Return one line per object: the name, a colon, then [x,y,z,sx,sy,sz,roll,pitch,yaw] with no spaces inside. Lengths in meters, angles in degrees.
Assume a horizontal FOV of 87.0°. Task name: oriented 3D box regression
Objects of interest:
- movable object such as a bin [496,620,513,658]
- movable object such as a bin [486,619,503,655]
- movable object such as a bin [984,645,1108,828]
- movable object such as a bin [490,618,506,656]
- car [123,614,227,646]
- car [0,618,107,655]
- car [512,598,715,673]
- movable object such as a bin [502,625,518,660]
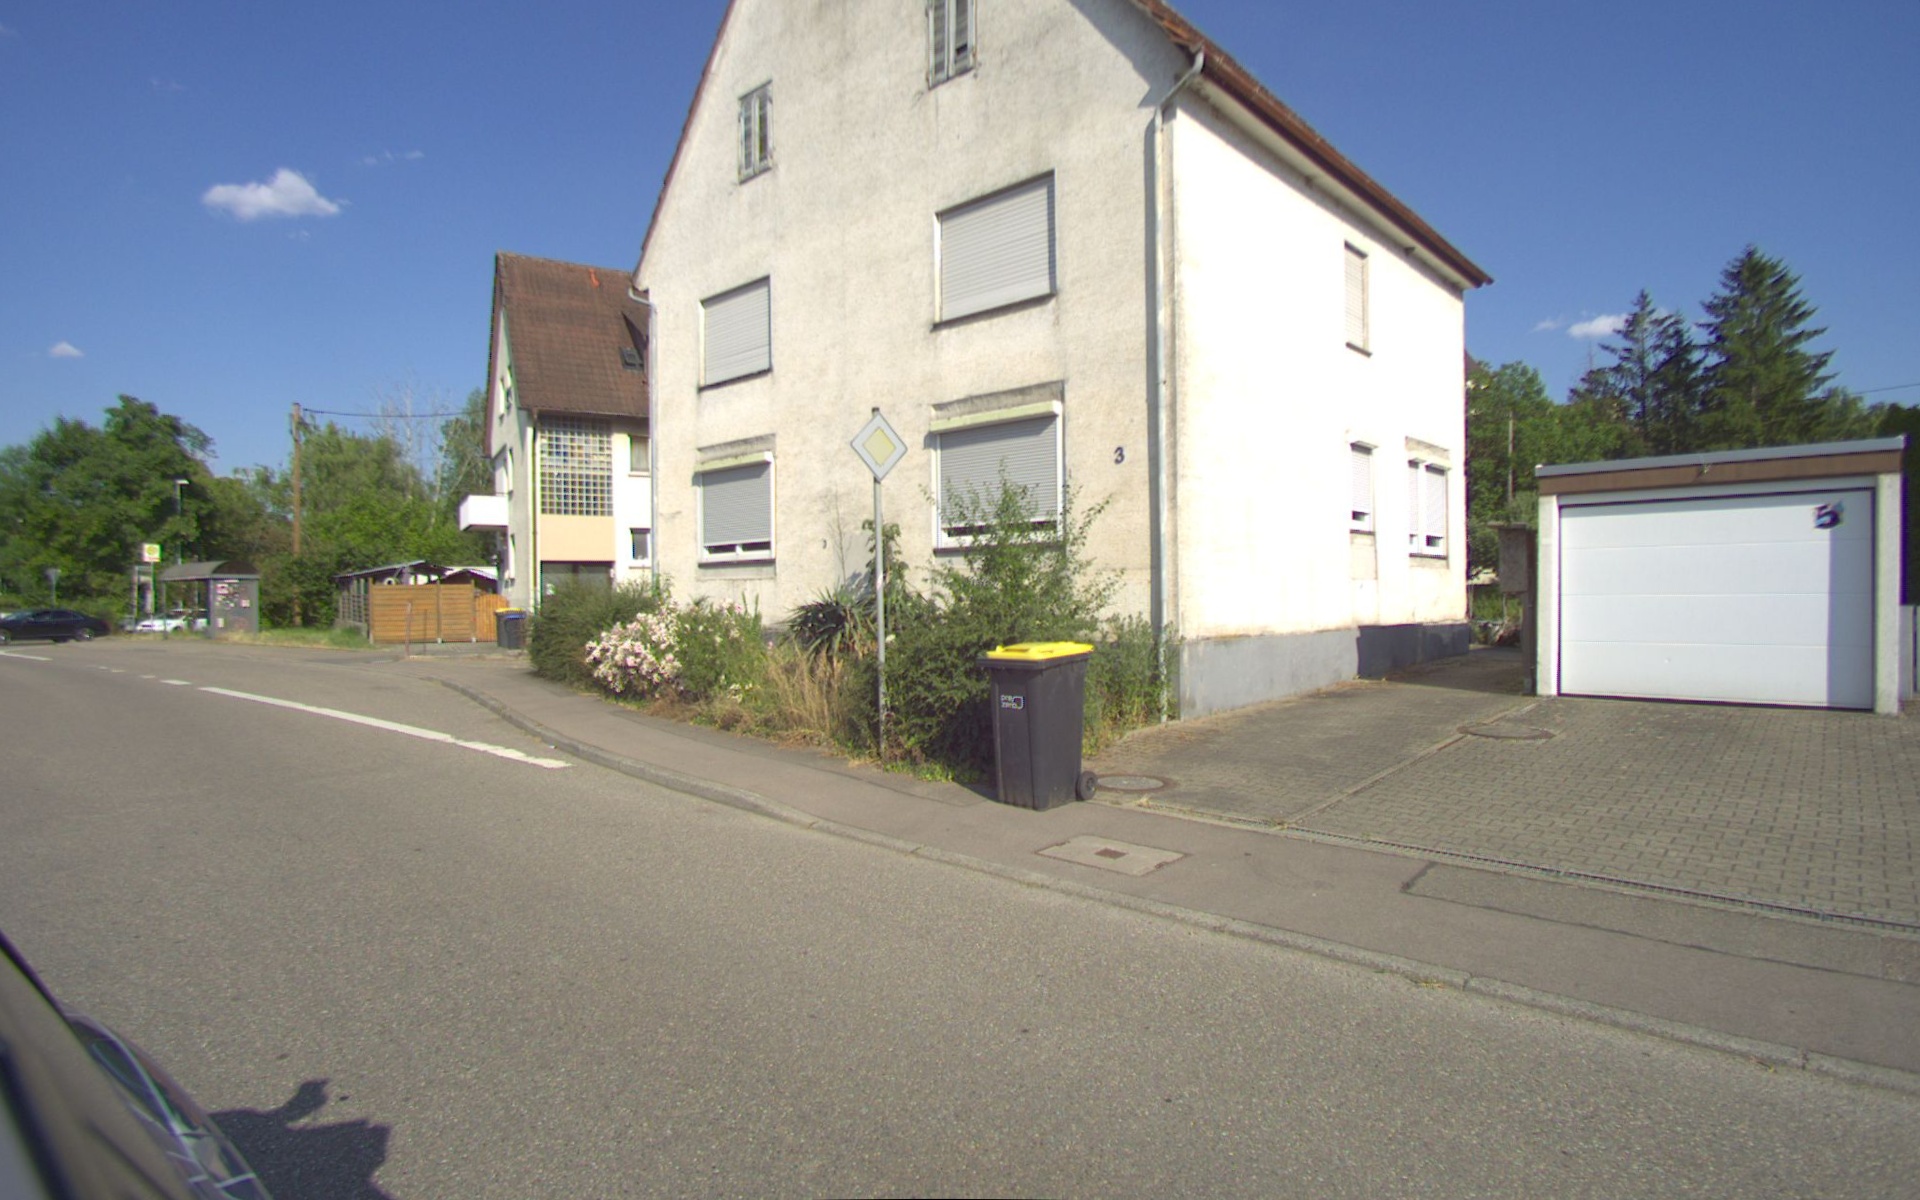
movable object such as a bin: [-12.840,1.102,28.538,0.356,1.030,0.578,0,1,-33]
movable object such as a bin: [-13.605,1.086,29.584,0.356,1.023,0.559,0,1,-33]
movable object such as a bin: [0.584,0.881,6.805,0.575,1.109,0.604,0,1,41]
movable object such as a bin: [-13.271,1.055,29.057,0.356,1.049,0.559,0,1,-33]
car: [-39.442,1.489,50.986,1.837,1.503,4.271,0,0,3]
car: [-38.764,1.509,42.108,1.757,1.442,4.815,0,0,18]
car: [-7.364,0.712,21.575,3.931,1.444,1.658,-1,0,-22]
movable object such as a bin: [-12.484,1.170,28.089,0.356,0.932,0.401,0,1,-33]
